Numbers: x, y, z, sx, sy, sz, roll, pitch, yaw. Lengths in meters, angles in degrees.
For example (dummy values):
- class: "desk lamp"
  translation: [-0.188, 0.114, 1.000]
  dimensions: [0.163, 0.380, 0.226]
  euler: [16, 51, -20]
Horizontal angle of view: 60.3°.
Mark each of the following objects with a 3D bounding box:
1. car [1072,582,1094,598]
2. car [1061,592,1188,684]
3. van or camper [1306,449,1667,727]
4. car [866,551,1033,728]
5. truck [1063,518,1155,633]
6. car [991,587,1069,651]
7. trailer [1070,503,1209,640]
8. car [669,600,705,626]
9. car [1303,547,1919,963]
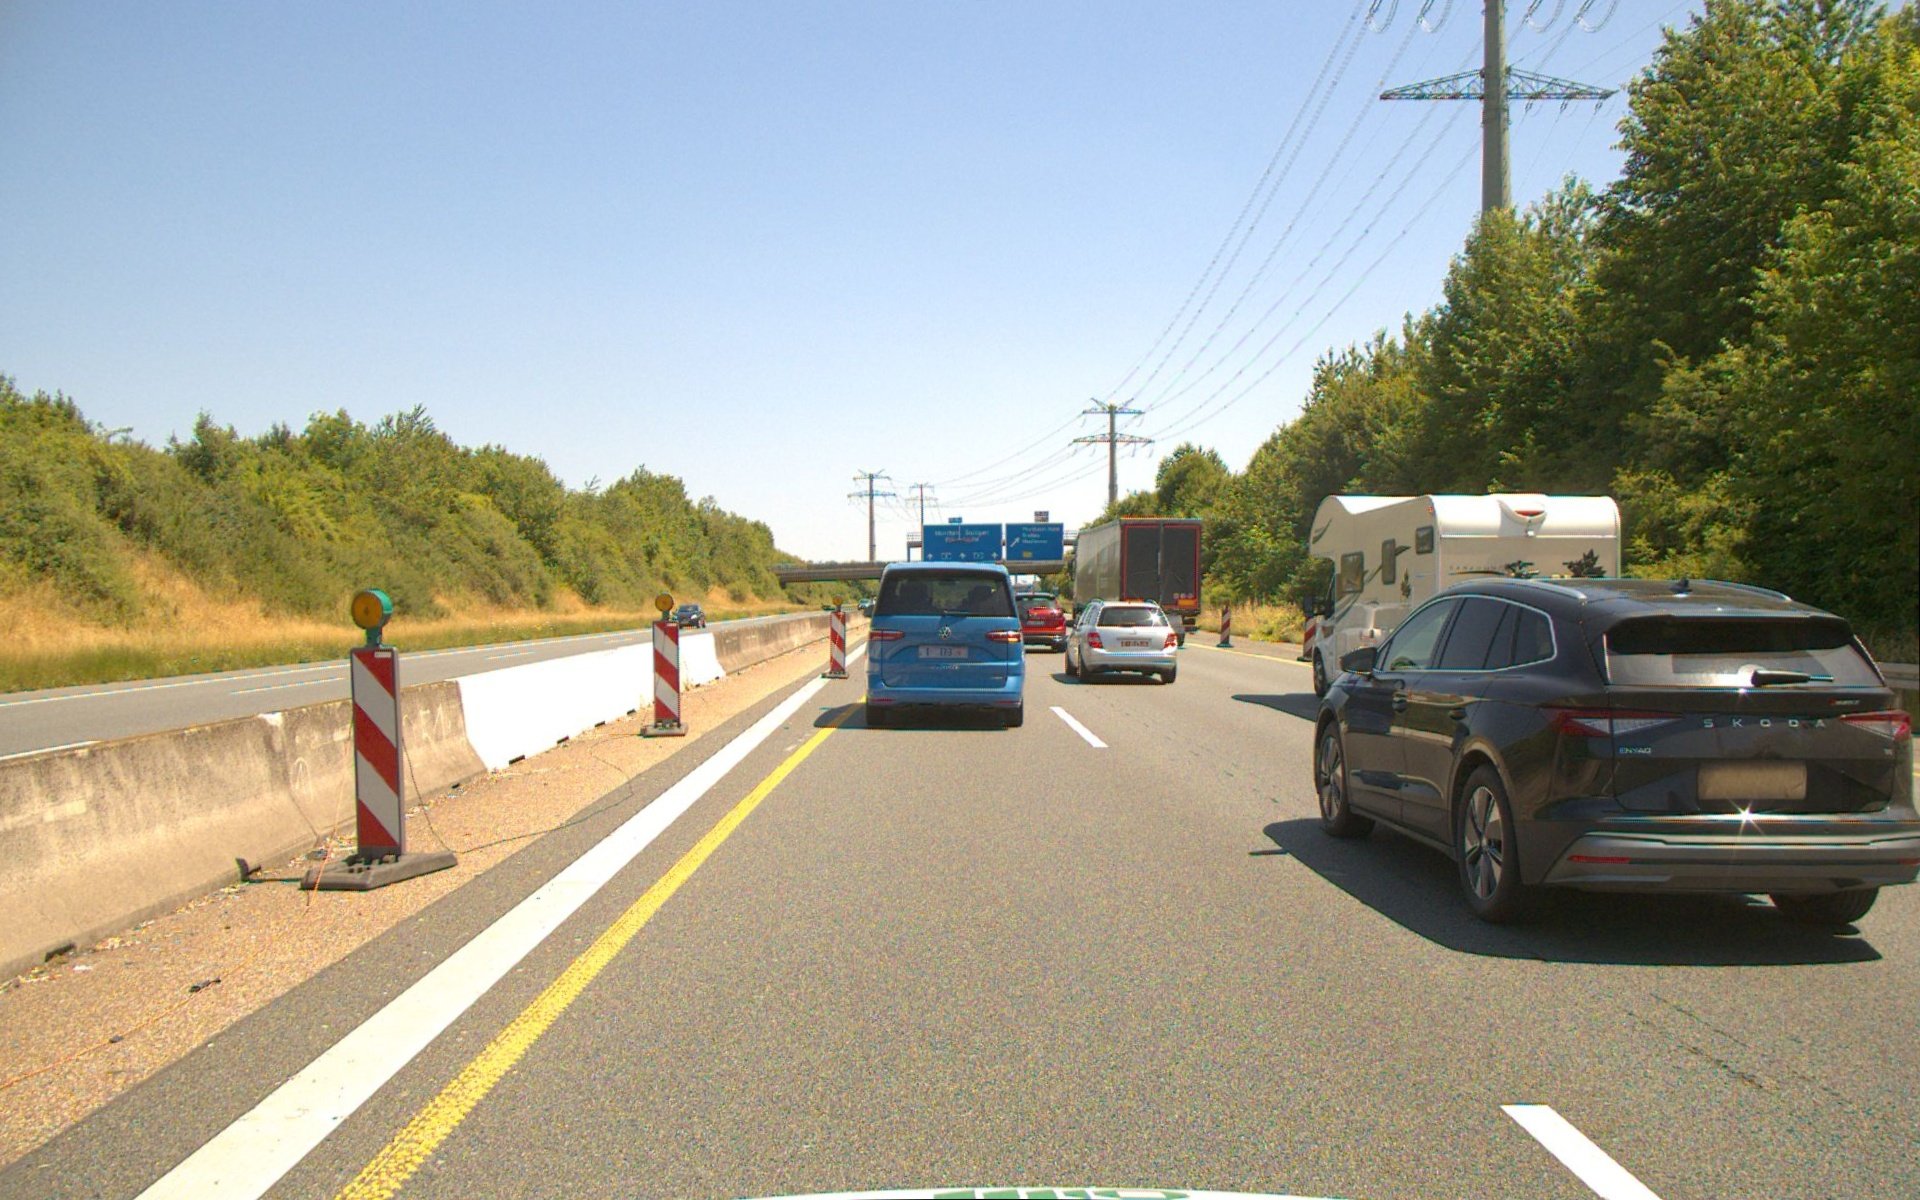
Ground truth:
- class: "car"
  translation: [13.296, -1.072, 178.863]
  dimensions: [1.837, 1.700, 4.358]
  euler: [1, 0, -2]
- class: "car"
  translation: [2.968, 0.655, 30.698]
  dimensions: [1.735, 1.544, 4.358]
  euler: [1, 0, -2]
- class: "van or camper"
  translation: [6.751, -0.133, 22.498]
  dimensions: [2.321, 3.096, 7.631]
  euler: [1, 0, -1]
- class: "car"
  translation: [-0.196, 0.444, 20.612]
  dimensions: [1.837, 1.945, 4.358]
  euler: [1, 0, -2]
- class: "truck"
  translation: [5.584, -0.881, 62.722]
  dimensions: [2.678, 4.118, 5.790]
  euler: [1, 0, -3]
- class: "car"
  translation: [1.919, 0.513, 46.690]
  dimensions: [1.837, 1.700, 4.358]
  euler: [1, 0, -2]
- class: "trailer"
  translation: [5.879, -0.871, 56.771]
  dimensions: [2.727, 4.118, 13.105]
  euler: [1, 0, -3]
- class: "car"
  translation: [-16.831, 0.789, 101.923]
  dimensions: [1.674, 1.490, 3.848]
  euler: [-2, 0, -2]
- class: "car"
  translation: [3.250, 0.640, 8.996]
  dimensions: [1.667, 1.684, 4.427]
  euler: [1, 0, -2]
